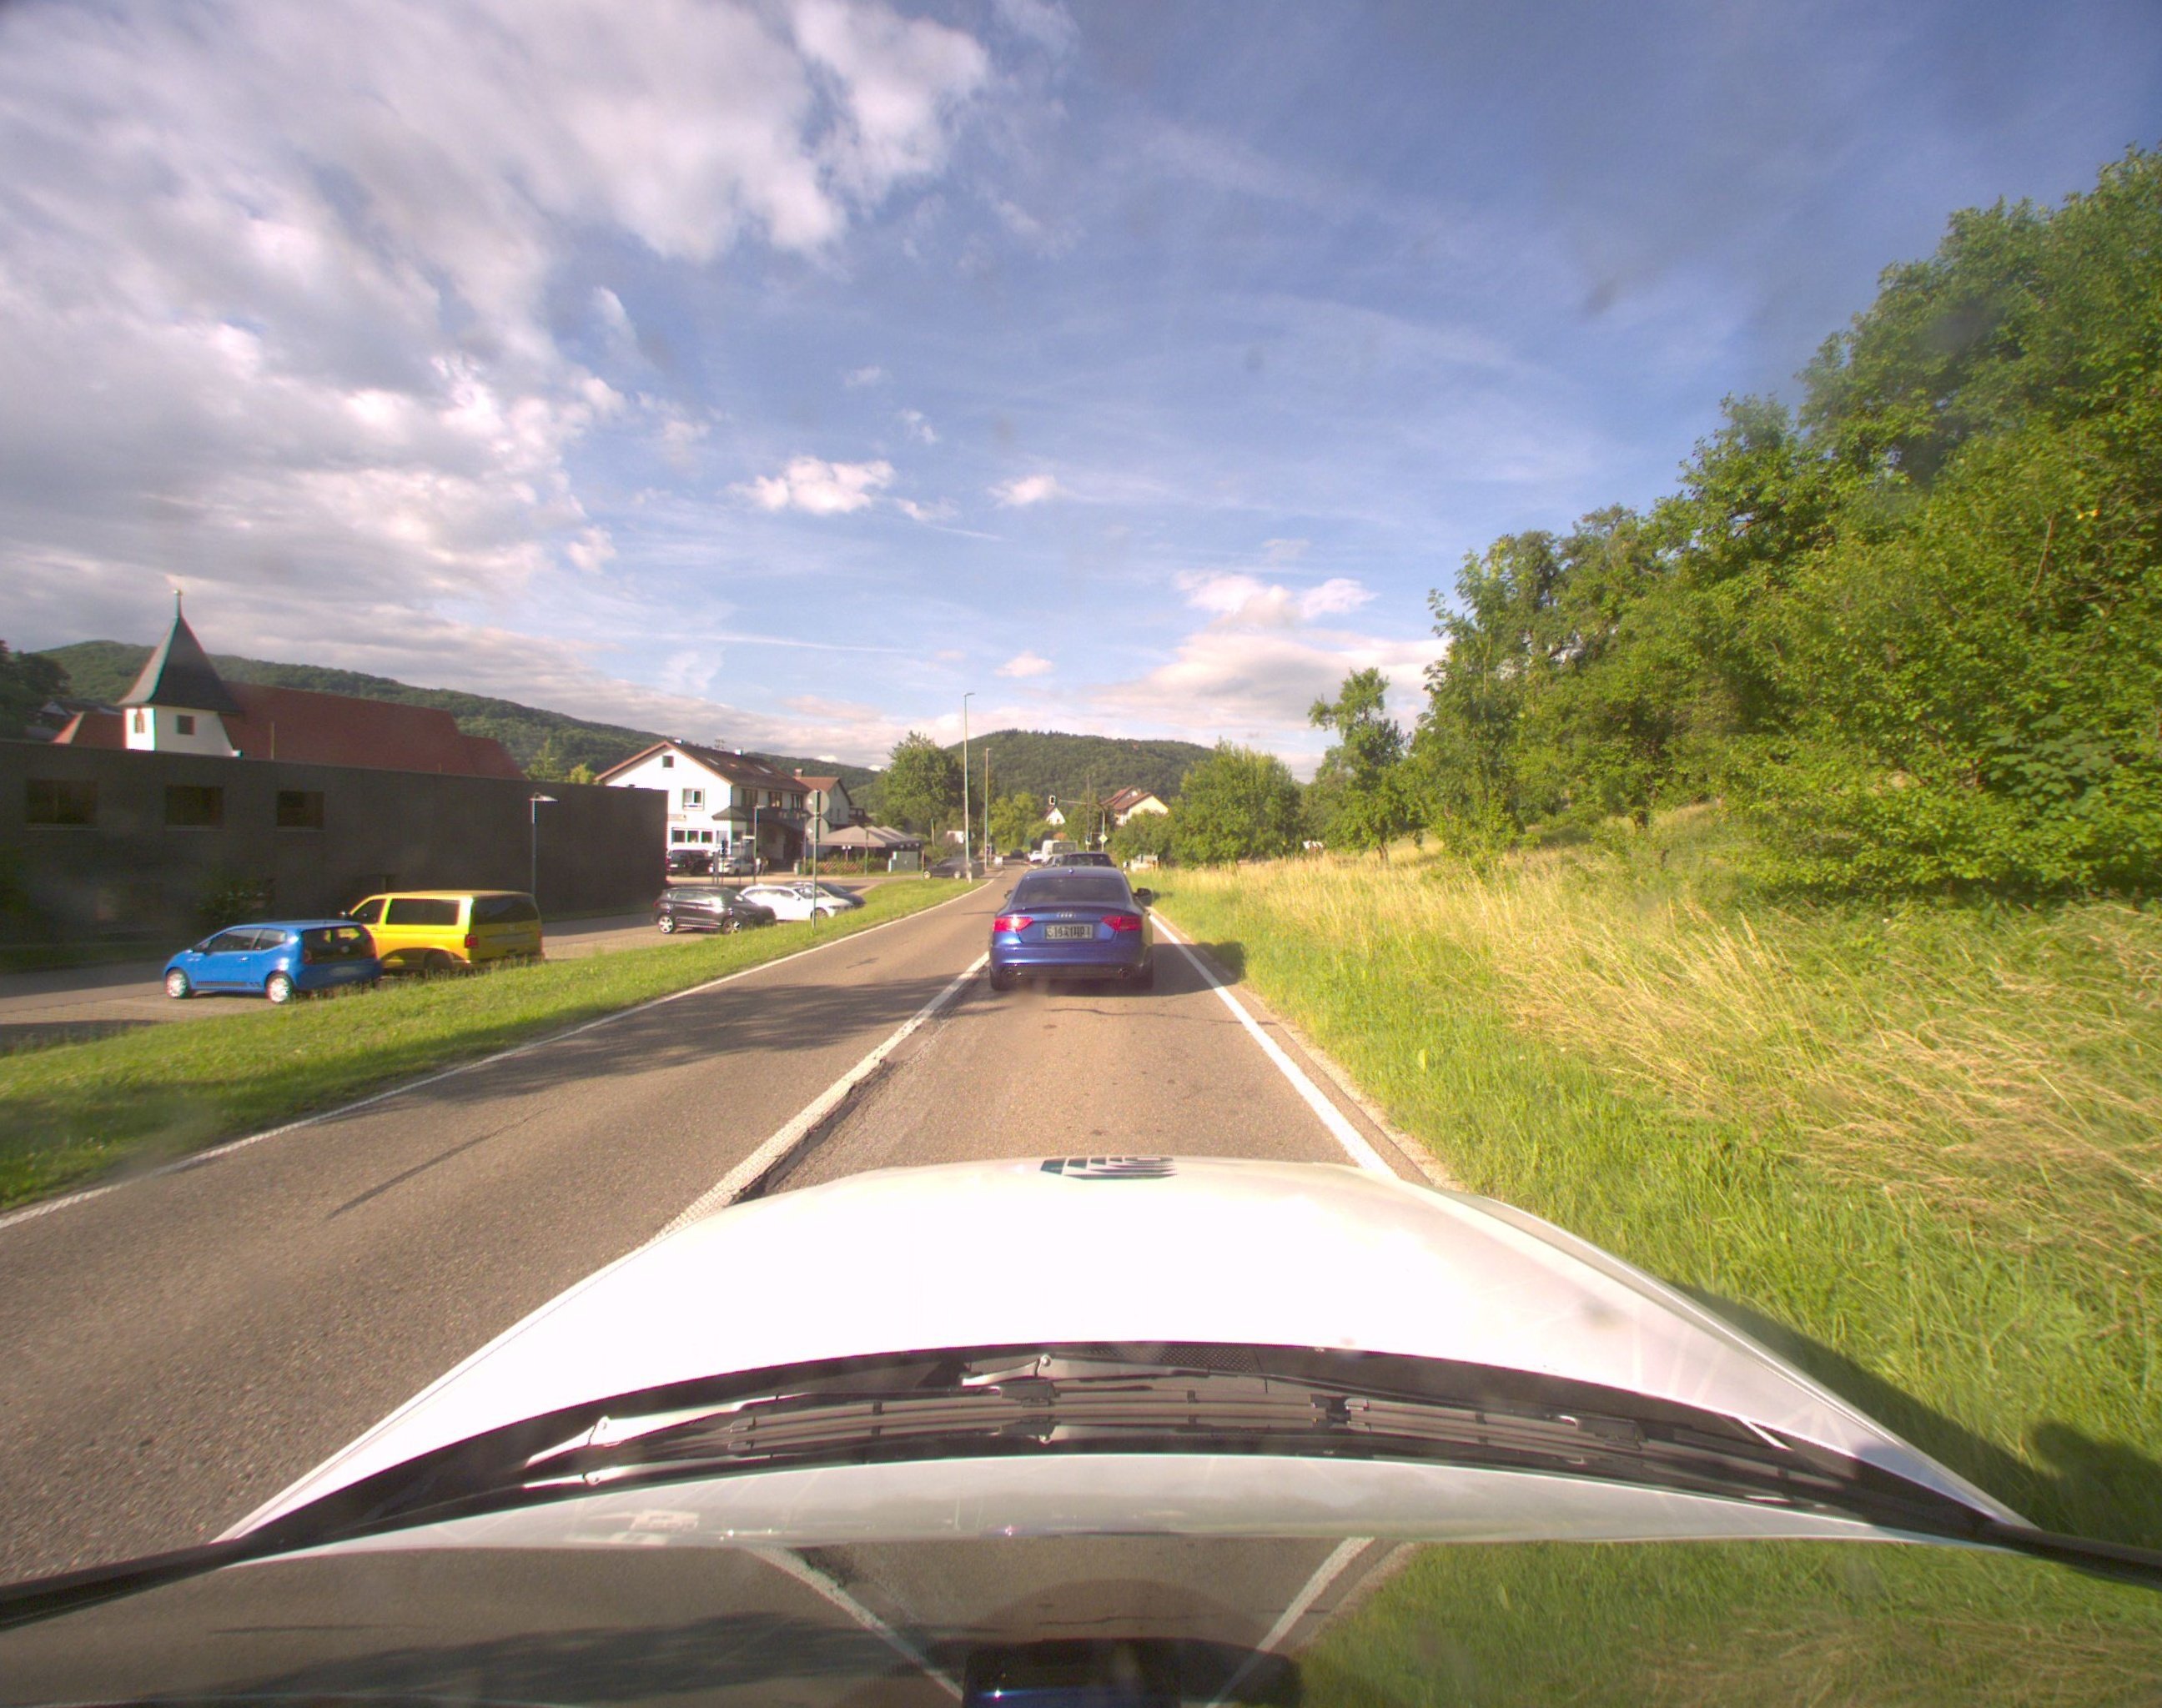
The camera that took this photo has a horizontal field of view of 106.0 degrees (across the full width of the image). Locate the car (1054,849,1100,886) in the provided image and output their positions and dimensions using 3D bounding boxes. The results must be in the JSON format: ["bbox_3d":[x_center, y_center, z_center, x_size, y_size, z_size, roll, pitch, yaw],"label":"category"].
[{"bbox_3d":[-0.142,0.640,38.602,1.796,1.639,4.468,0,-1,4],"label":"car"}]

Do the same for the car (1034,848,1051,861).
[{"bbox_3d":[-4.743,0.086,99.982,1.696,1.490,3.517,0,-1,-8],"label":"car"}]

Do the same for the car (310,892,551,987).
[{"bbox_3d":[-14.838,1.861,18.636,4.575,1.868,2.009,0,-1,16],"label":"car"}]

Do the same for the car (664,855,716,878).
[{"bbox_3d":[-28.805,0.921,60.110,1.880,1.662,4.001,0,-1,1],"label":"car"}]

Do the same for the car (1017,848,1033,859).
[{"bbox_3d":[-7.496,-0.039,109.076,1.699,1.490,3.513,0,-1,-12],"label":"car"}]

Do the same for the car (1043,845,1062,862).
[{"bbox_3d":[-2.754,-0.054,78.777,1.742,1.639,3.996,0,-1,-3],"label":"car"}]

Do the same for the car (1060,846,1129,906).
[{"bbox_3d":[0.481,0.622,24.502,1.737,1.639,4.006,0,-1,6],"label":"car"}]

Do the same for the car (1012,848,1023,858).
[{"bbox_3d":[-9.877,-0.177,126.053,1.695,1.490,3.519,0,-1,-6],"label":"car"}]

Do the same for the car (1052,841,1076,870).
[{"bbox_3d":[-1.357,0.134,64.405,1.742,2.195,3.996,0,-1,-3],"label":"car"}]

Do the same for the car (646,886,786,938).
[{"bbox_3d":[-12.666,1.967,28.377,3.997,1.637,2.007,0,-1,13],"label":"car"}]

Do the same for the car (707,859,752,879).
[{"bbox_3d":[-26.054,1.104,60.529,1.550,1.450,4.001,0,-1,1],"label":"car"}]

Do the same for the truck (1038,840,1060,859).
[{"bbox_3d":[-3.329,-0.439,84.442,1.696,1.953,5.906,0,-1,-8],"label":"truck"}]

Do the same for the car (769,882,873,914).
[{"bbox_3d":[-11.364,1.922,35.749,3.964,1.310,1.765,0,-1,8],"label":"car"}]

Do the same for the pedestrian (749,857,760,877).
[{"bbox_3d":[-24.392,0.983,60.870,0.606,1.503,0.590,0,-1,1],"label":"pedestrian"}]

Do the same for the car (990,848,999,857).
[{"bbox_3d":[-16.349,-0.307,154.056,1.625,1.576,3.668,0,-1,-9],"label":"car"}]

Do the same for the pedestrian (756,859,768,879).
[{"bbox_3d":[-23.733,1.090,60.612,0.606,1.503,0.590,0,-1,1],"label":"pedestrian"}]

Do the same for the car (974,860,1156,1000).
[{"bbox_3d":[0.014,0.791,10.188,1.786,1.388,4.006,-1,-1,6],"label":"car"}]

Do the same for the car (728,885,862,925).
[{"bbox_3d":[-11.508,2.015,32.867,4.780,1.493,1.887,0,-1,13],"label":"car"}]

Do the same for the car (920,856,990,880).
[{"bbox_3d":[-7.978,0.891,51.693,3.953,1.442,1.930,0,-1,21],"label":"car"}]

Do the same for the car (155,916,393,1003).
[{"bbox_3d":[-15.961,2.028,16.176,3.471,1.472,1.638,0,-1,11],"label":"car"}]
